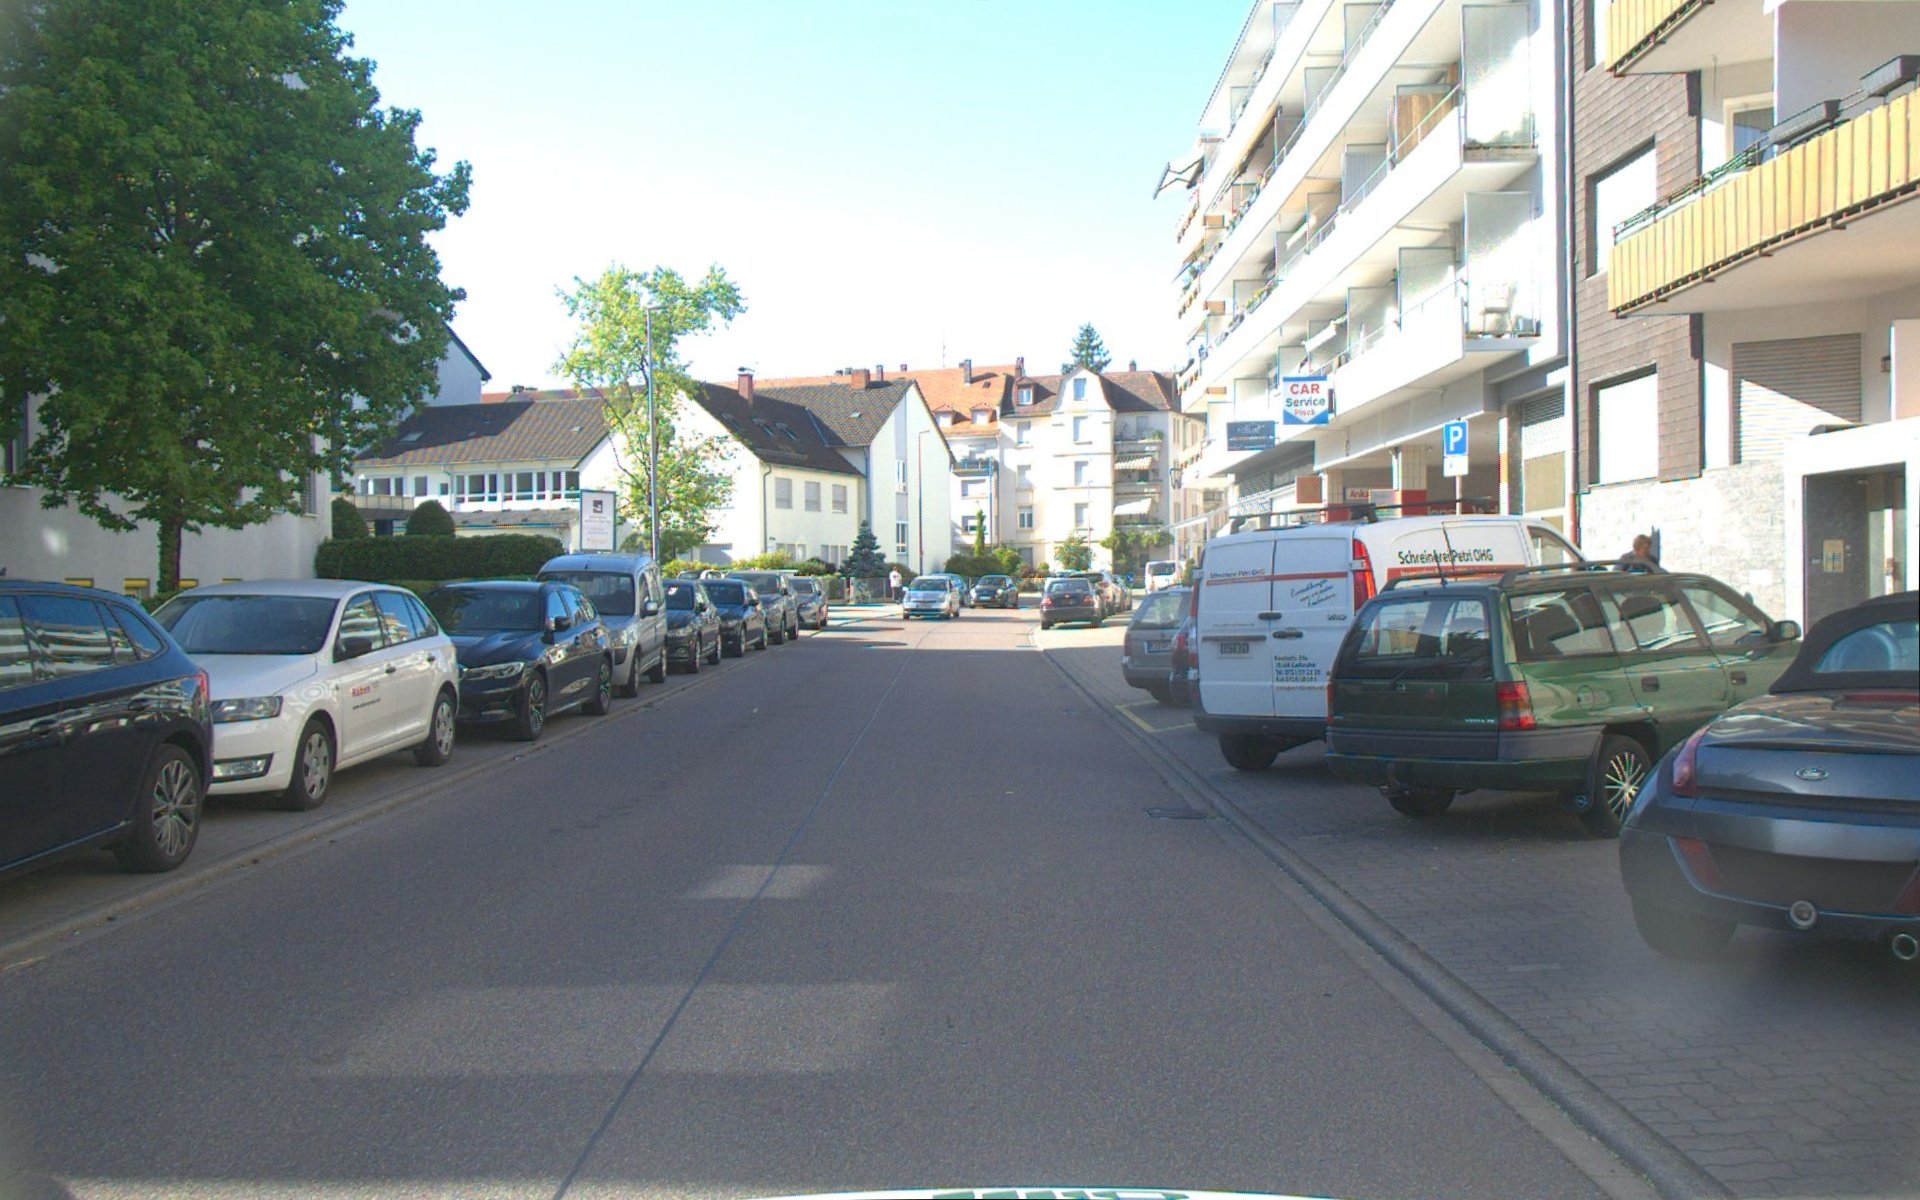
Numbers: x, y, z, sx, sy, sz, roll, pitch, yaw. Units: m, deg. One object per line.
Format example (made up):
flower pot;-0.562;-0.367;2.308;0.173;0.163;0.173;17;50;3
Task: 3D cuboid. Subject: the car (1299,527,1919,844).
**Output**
car;4.174;0.432;10.374;3.947;1.515;1.599;-4;0;-32

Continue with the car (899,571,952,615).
car;-1.211;-0.273;59.554;1.690;1.511;4.107;-1;1;1

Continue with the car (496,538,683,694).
car;-4.831;0.148;22.130;1.653;1.870;4.340;-1;1;-2

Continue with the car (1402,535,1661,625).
car;11.024;-0.375;32.116;4.301;1.539;1.979;-2;0;-1

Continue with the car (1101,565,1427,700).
car;3.978;0.360;21.135;4.610;1.491;1.664;-2;0;-43

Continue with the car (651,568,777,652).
car;-4.721;0.139;32.337;1.690;1.490;4.440;-1;1;1

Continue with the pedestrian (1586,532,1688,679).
pedestrian;7.768;0.057;19.004;0.815;1.621;0.889;-2;0;5

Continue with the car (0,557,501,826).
car;-4.874;0.527;12.033;1.870;1.557;4.623;-1;0;-2

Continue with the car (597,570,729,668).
car;-4.747;0.258;26.911;1.566;1.465;3.998;0;1;-2

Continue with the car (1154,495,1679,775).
car;3.920;0.197;13.802;4.491;1.931;2.019;-4;0;-41

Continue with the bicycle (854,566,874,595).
bicycle;-4.484;-0.906;77.543;0.446;1.272;1.929;-1;-1;12

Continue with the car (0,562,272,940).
car;-4.775;0.609;7.133;1.870;1.505;4.379;-1;0;-2

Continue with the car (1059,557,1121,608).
car;4.789;-0.597;60.516;1.778;1.682;4.563;-1;-1;10

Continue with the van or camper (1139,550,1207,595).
van or camper;10.151;-1.311;78.484;1.979;1.981;4.703;-3;0;22

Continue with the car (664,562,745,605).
car;-10.128;-0.619;65.714;1.763;1.583;3.187;-1;-2;23

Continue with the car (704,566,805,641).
car;-4.684;0.028;38.248;1.684;1.614;4.422;-1;1;1

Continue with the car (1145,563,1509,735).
car;3.972;0.442;17.452;1.727;1.539;4.297;-2;0;44

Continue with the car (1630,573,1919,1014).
car;4.229;0.599;6.607;3.366;1.412;1.518;-1;1;-41

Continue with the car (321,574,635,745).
car;-4.667;0.486;16.752;1.697;1.464;4.613;-1;1;1

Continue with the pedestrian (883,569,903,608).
pedestrian;-3.081;-0.516;76.052;0.668;1.733;0.824;-1;-2;21

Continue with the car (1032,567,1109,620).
car;3.348;-0.203;49.140;1.929;1.476;5.007;-1;0;8

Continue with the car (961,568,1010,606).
car;1.136;-0.547;72.629;1.703;1.539;3.733;-1;-1;8

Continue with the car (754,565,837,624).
car;-4.723;-0.202;48.065;1.953;1.561;4.918;-1;1;-1
